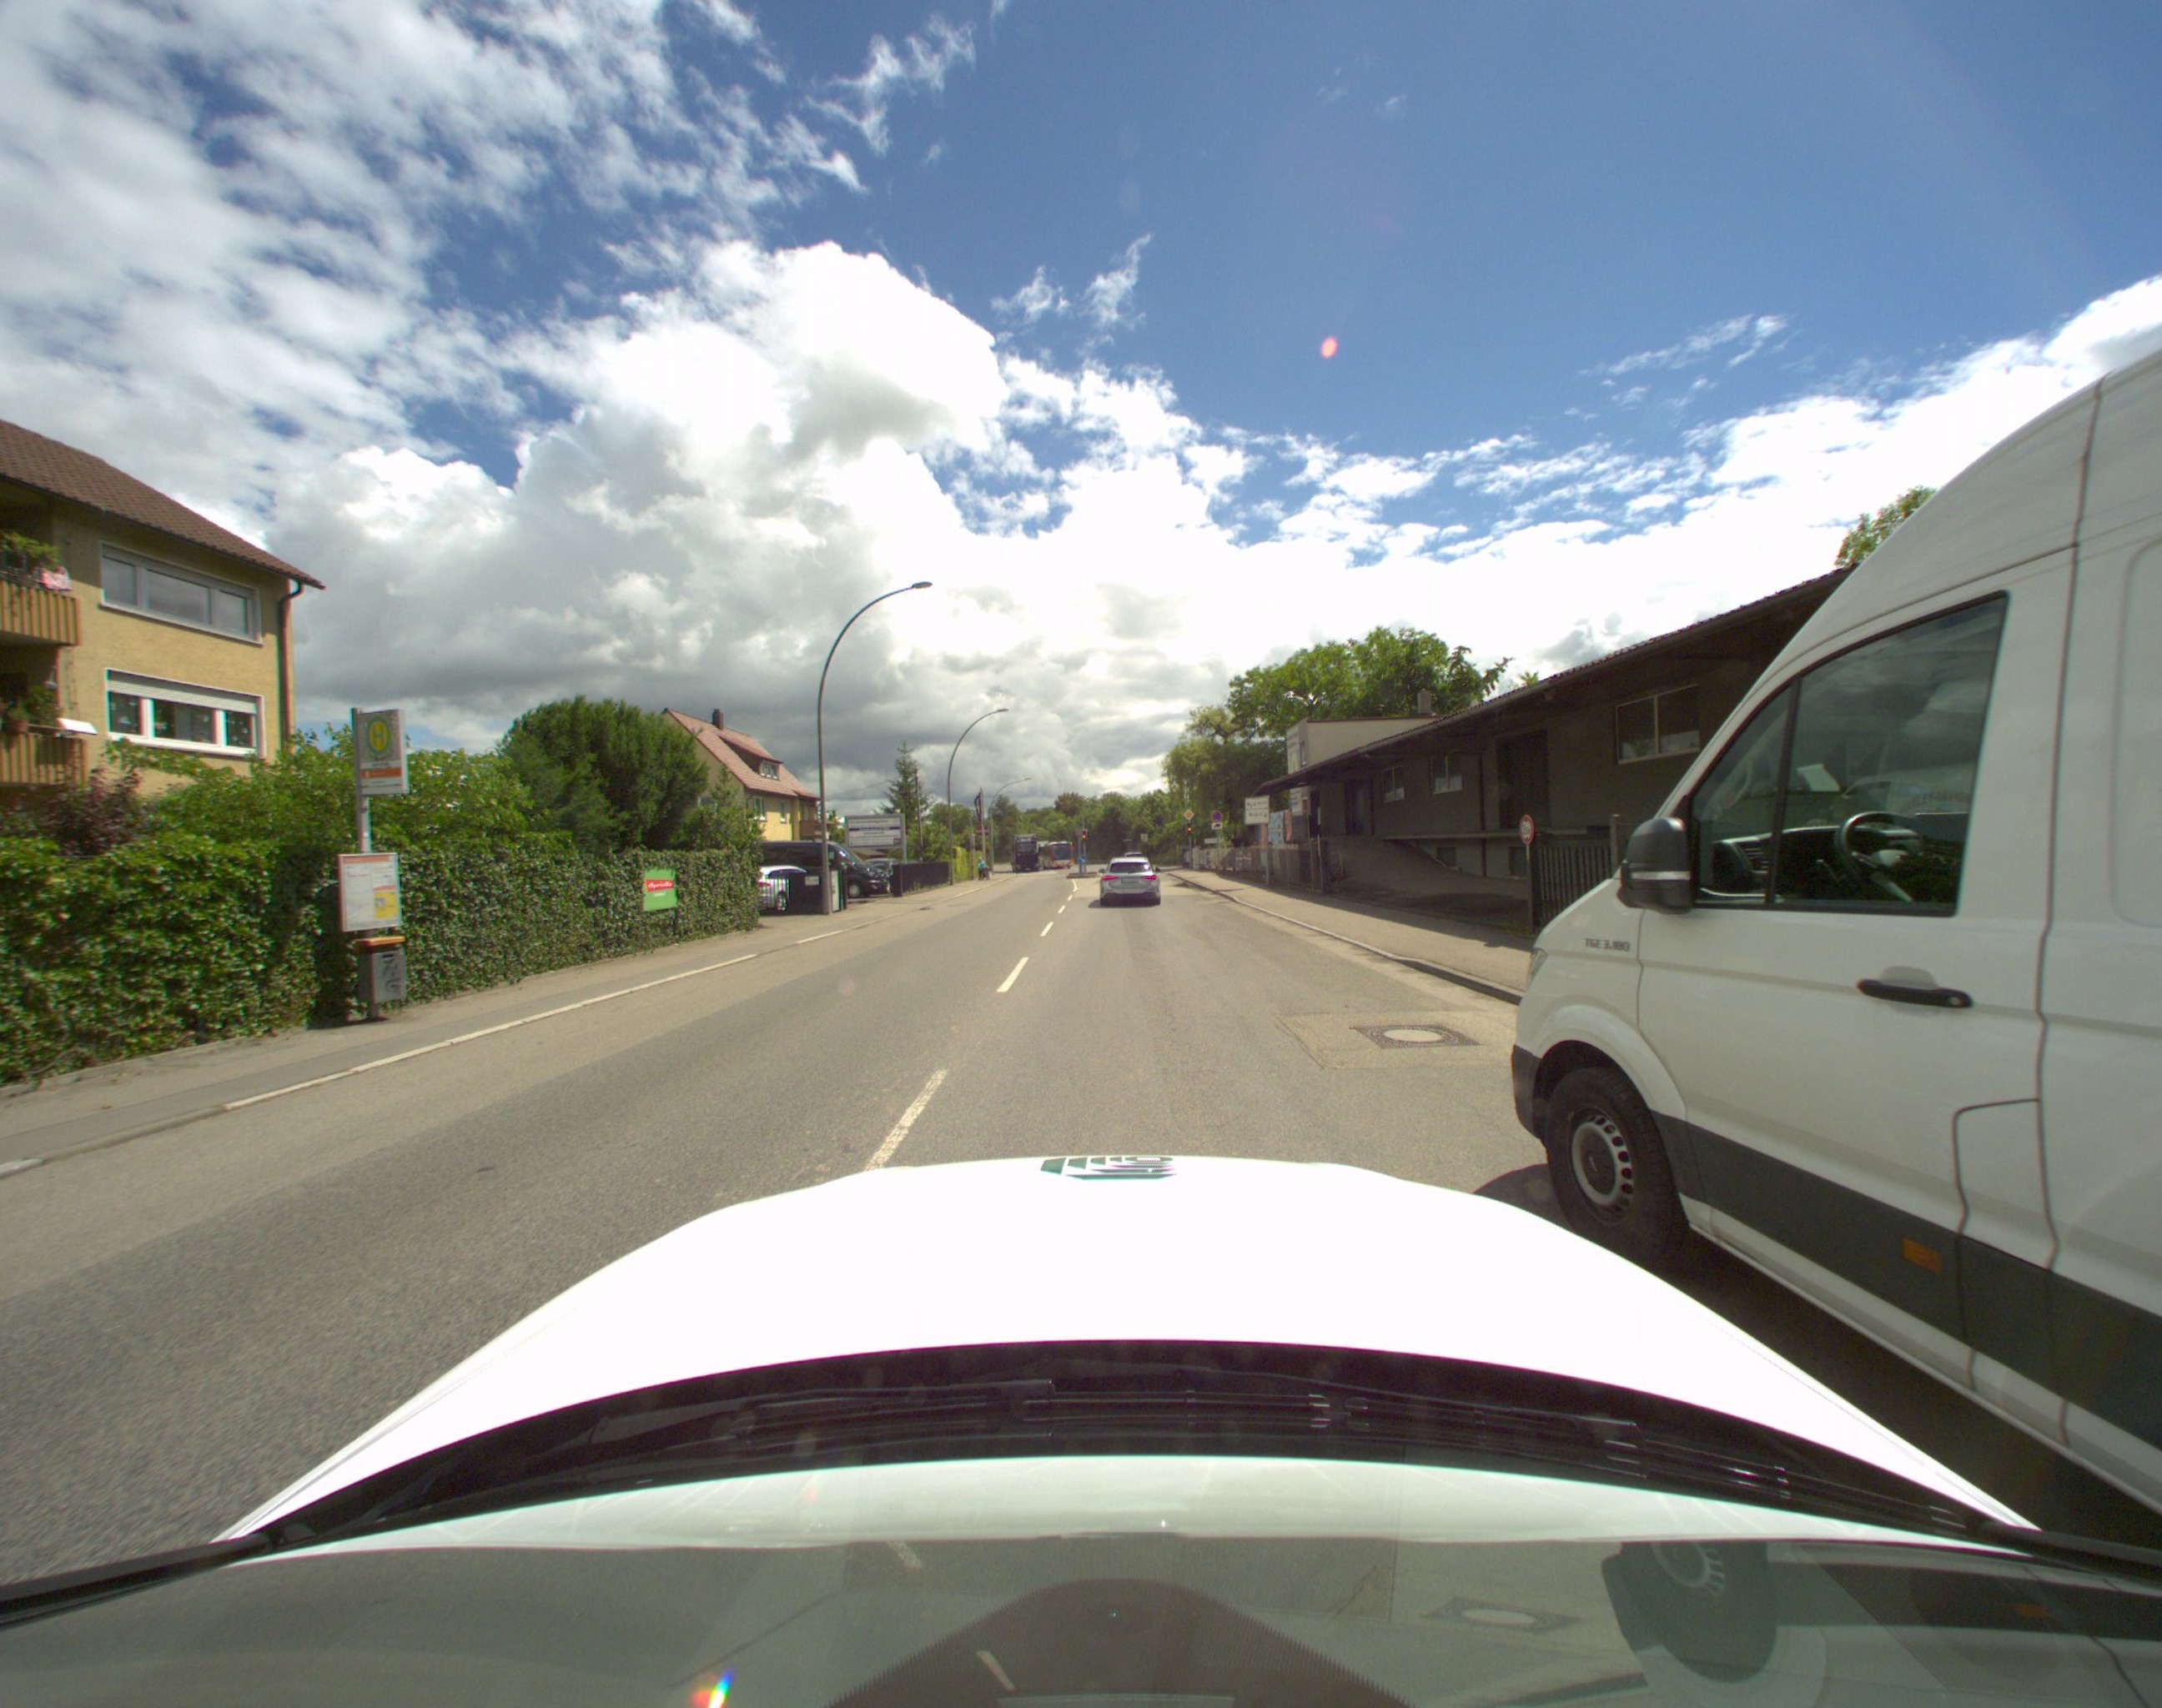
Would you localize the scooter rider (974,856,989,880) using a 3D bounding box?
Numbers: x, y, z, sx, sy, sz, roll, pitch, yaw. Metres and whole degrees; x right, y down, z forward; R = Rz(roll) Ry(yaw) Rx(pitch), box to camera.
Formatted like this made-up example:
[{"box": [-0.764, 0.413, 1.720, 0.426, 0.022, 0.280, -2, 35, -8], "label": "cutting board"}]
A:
[{"box": [-6.806, 0.949, 55.819, 0.875, 1.589, 0.796, -2, 0, 1], "label": "scooter rider"}]

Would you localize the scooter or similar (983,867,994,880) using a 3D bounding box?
[{"box": [-6.303, 1.327, 55.396, 0.609, 0.831, 0.659, -1, 0, 2], "label": "scooter or similar"}]

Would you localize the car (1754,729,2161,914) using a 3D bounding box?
[{"box": [11.988, -0.403, 10.902, 1.986, 1.910, 4.855, -3, 1, 1], "label": "car"}]

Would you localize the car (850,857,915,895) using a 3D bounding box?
[{"box": [-9.351, 1.007, 38.697, 2.026, 1.595, 4.282, -3, 0, -1], "label": "car"}]

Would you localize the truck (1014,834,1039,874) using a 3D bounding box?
[{"box": [-5.980, 0.053, 88.243, 2.425, 4.131, 9.132, 0, -1, -5], "label": "truck"}]

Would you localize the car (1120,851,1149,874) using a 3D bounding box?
[{"box": [3.925, 0.607, 60.030, 1.878, 1.508, 4.000, -2, 0, 0], "label": "car"}]

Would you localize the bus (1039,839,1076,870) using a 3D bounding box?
[{"box": [-2.956, 0.152, 96.909, 2.777, 3.266, 12.086, -3, 0, -9], "label": "bus"}]

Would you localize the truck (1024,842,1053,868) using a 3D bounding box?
[{"box": [-6.111, 0.180, 115.715, 2.839, 3.540, 9.693, -3, 0, -9], "label": "truck"}]

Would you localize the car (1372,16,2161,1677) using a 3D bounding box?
[{"box": [2.851, -0.017, 1.450, 2.207, 2.689, 6.657, -3, 0, 0], "label": "car"}]

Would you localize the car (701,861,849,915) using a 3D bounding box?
[{"box": [-10.047, 1.062, 27.307, 1.980, 1.486, 5.359, -3, 0, 12], "label": "car"}]

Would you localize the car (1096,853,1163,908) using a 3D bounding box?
[{"box": [1.555, 0.757, 25.520, 1.876, 1.508, 4.005, -2, 0, 4], "label": "car"}]

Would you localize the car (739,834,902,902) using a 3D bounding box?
[{"box": [-11.002, 0.579, 34.763, 6.015, 2.496, 2.478, -3, 0, 1], "label": "car"}]
